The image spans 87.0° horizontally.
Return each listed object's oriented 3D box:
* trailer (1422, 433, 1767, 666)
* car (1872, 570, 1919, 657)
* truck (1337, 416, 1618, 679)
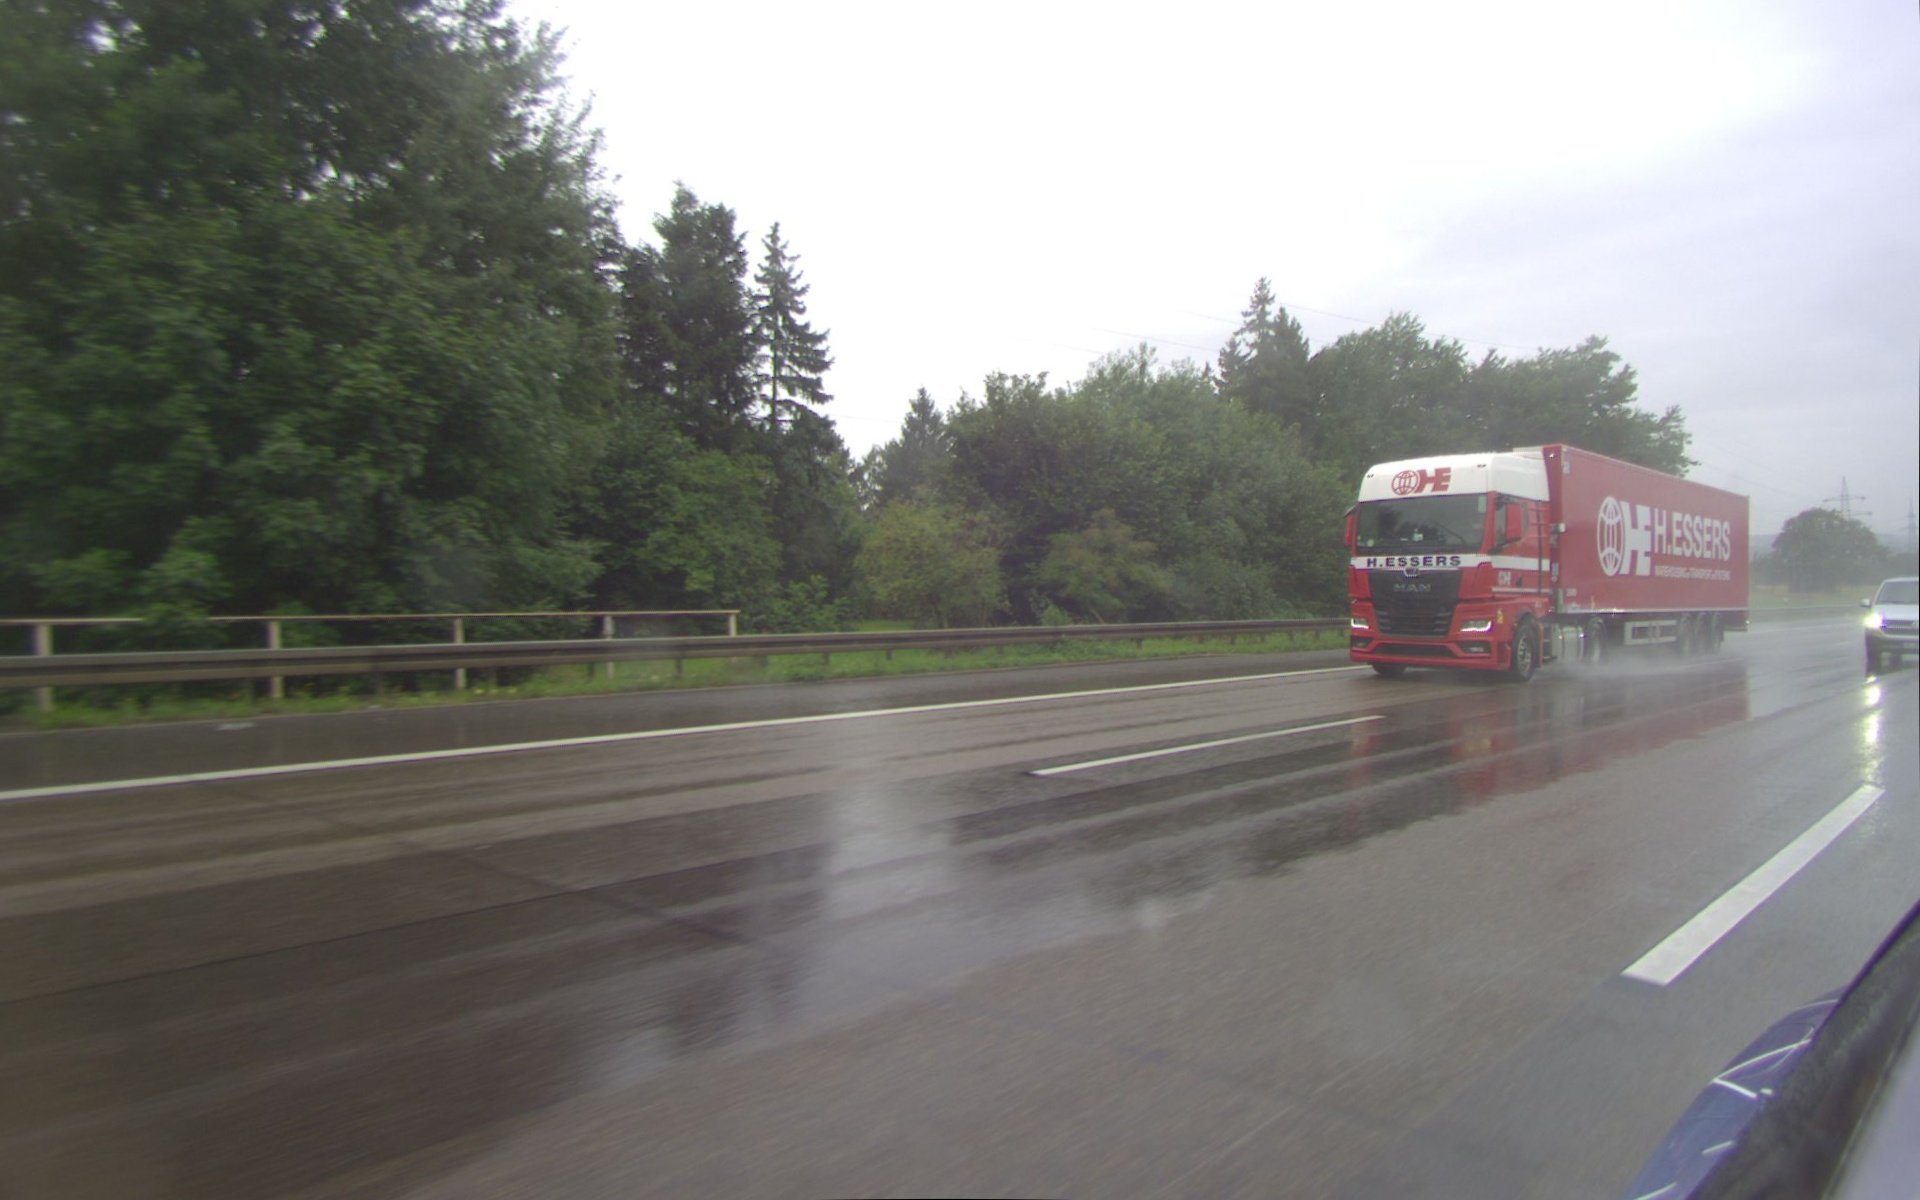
[{"bbox_3d":[14.825,-0.956,22.755,13.389,4.005,2.625,-1,0,-40],"label":"trailer"},{"bbox_3d":[22.978,0.277,23.523,4.920,1.908,1.890,0,-2,-40],"label":"car"},{"bbox_3d":[9.376,-0.842,18.139,5.337,4.005,2.625,-1,0,-40],"label":"truck"}]
